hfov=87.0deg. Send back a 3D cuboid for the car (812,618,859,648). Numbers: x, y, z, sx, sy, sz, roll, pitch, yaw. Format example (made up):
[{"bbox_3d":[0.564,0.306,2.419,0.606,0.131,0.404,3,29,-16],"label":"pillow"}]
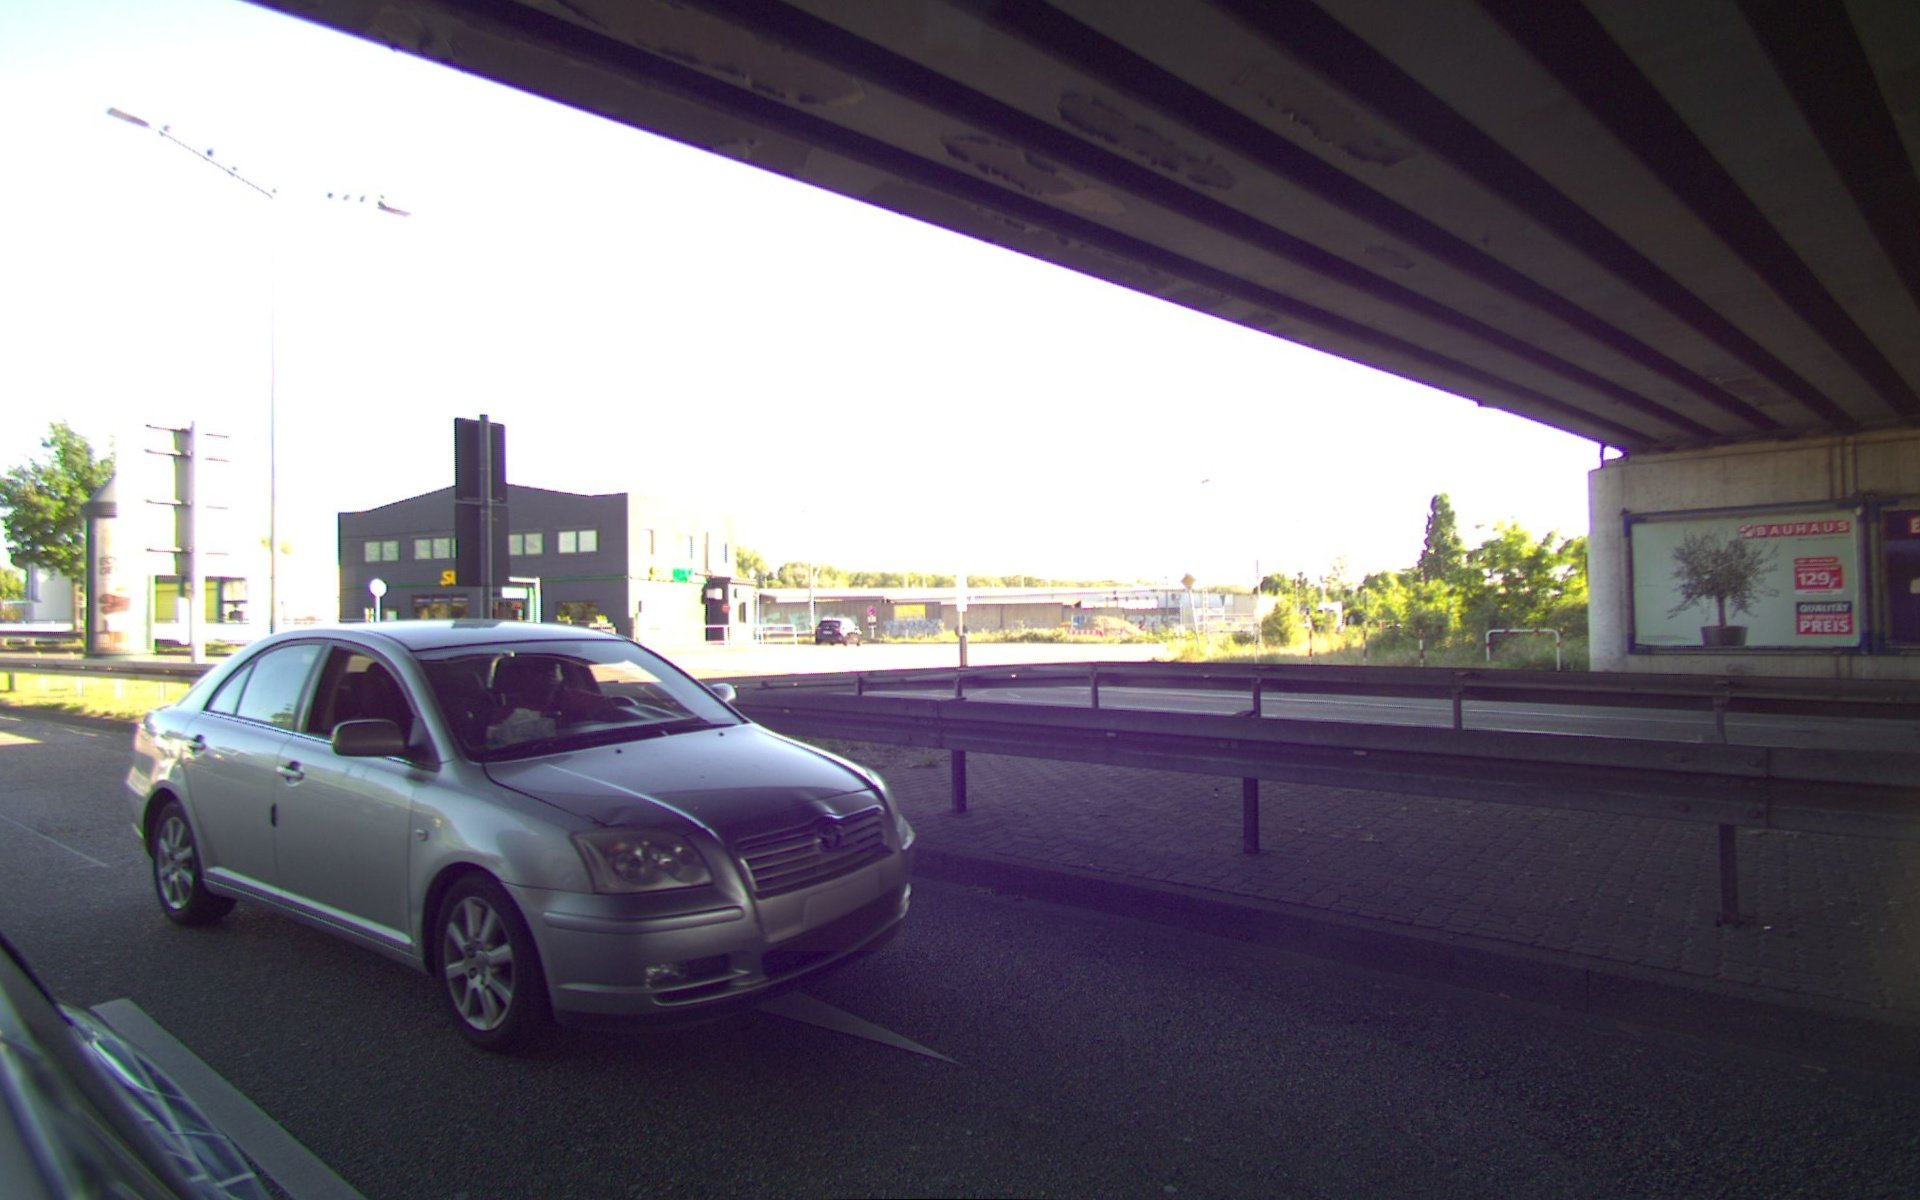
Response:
[{"bbox_3d":[-6.732,1.743,55.028,1.858,1.453,3.996,-1,0,3],"label":"car"}]

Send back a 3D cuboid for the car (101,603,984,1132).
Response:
[{"bbox_3d":[-2.189,0.796,4.763,4.385,1.466,1.683,-1,-1,34],"label":"car"}]
